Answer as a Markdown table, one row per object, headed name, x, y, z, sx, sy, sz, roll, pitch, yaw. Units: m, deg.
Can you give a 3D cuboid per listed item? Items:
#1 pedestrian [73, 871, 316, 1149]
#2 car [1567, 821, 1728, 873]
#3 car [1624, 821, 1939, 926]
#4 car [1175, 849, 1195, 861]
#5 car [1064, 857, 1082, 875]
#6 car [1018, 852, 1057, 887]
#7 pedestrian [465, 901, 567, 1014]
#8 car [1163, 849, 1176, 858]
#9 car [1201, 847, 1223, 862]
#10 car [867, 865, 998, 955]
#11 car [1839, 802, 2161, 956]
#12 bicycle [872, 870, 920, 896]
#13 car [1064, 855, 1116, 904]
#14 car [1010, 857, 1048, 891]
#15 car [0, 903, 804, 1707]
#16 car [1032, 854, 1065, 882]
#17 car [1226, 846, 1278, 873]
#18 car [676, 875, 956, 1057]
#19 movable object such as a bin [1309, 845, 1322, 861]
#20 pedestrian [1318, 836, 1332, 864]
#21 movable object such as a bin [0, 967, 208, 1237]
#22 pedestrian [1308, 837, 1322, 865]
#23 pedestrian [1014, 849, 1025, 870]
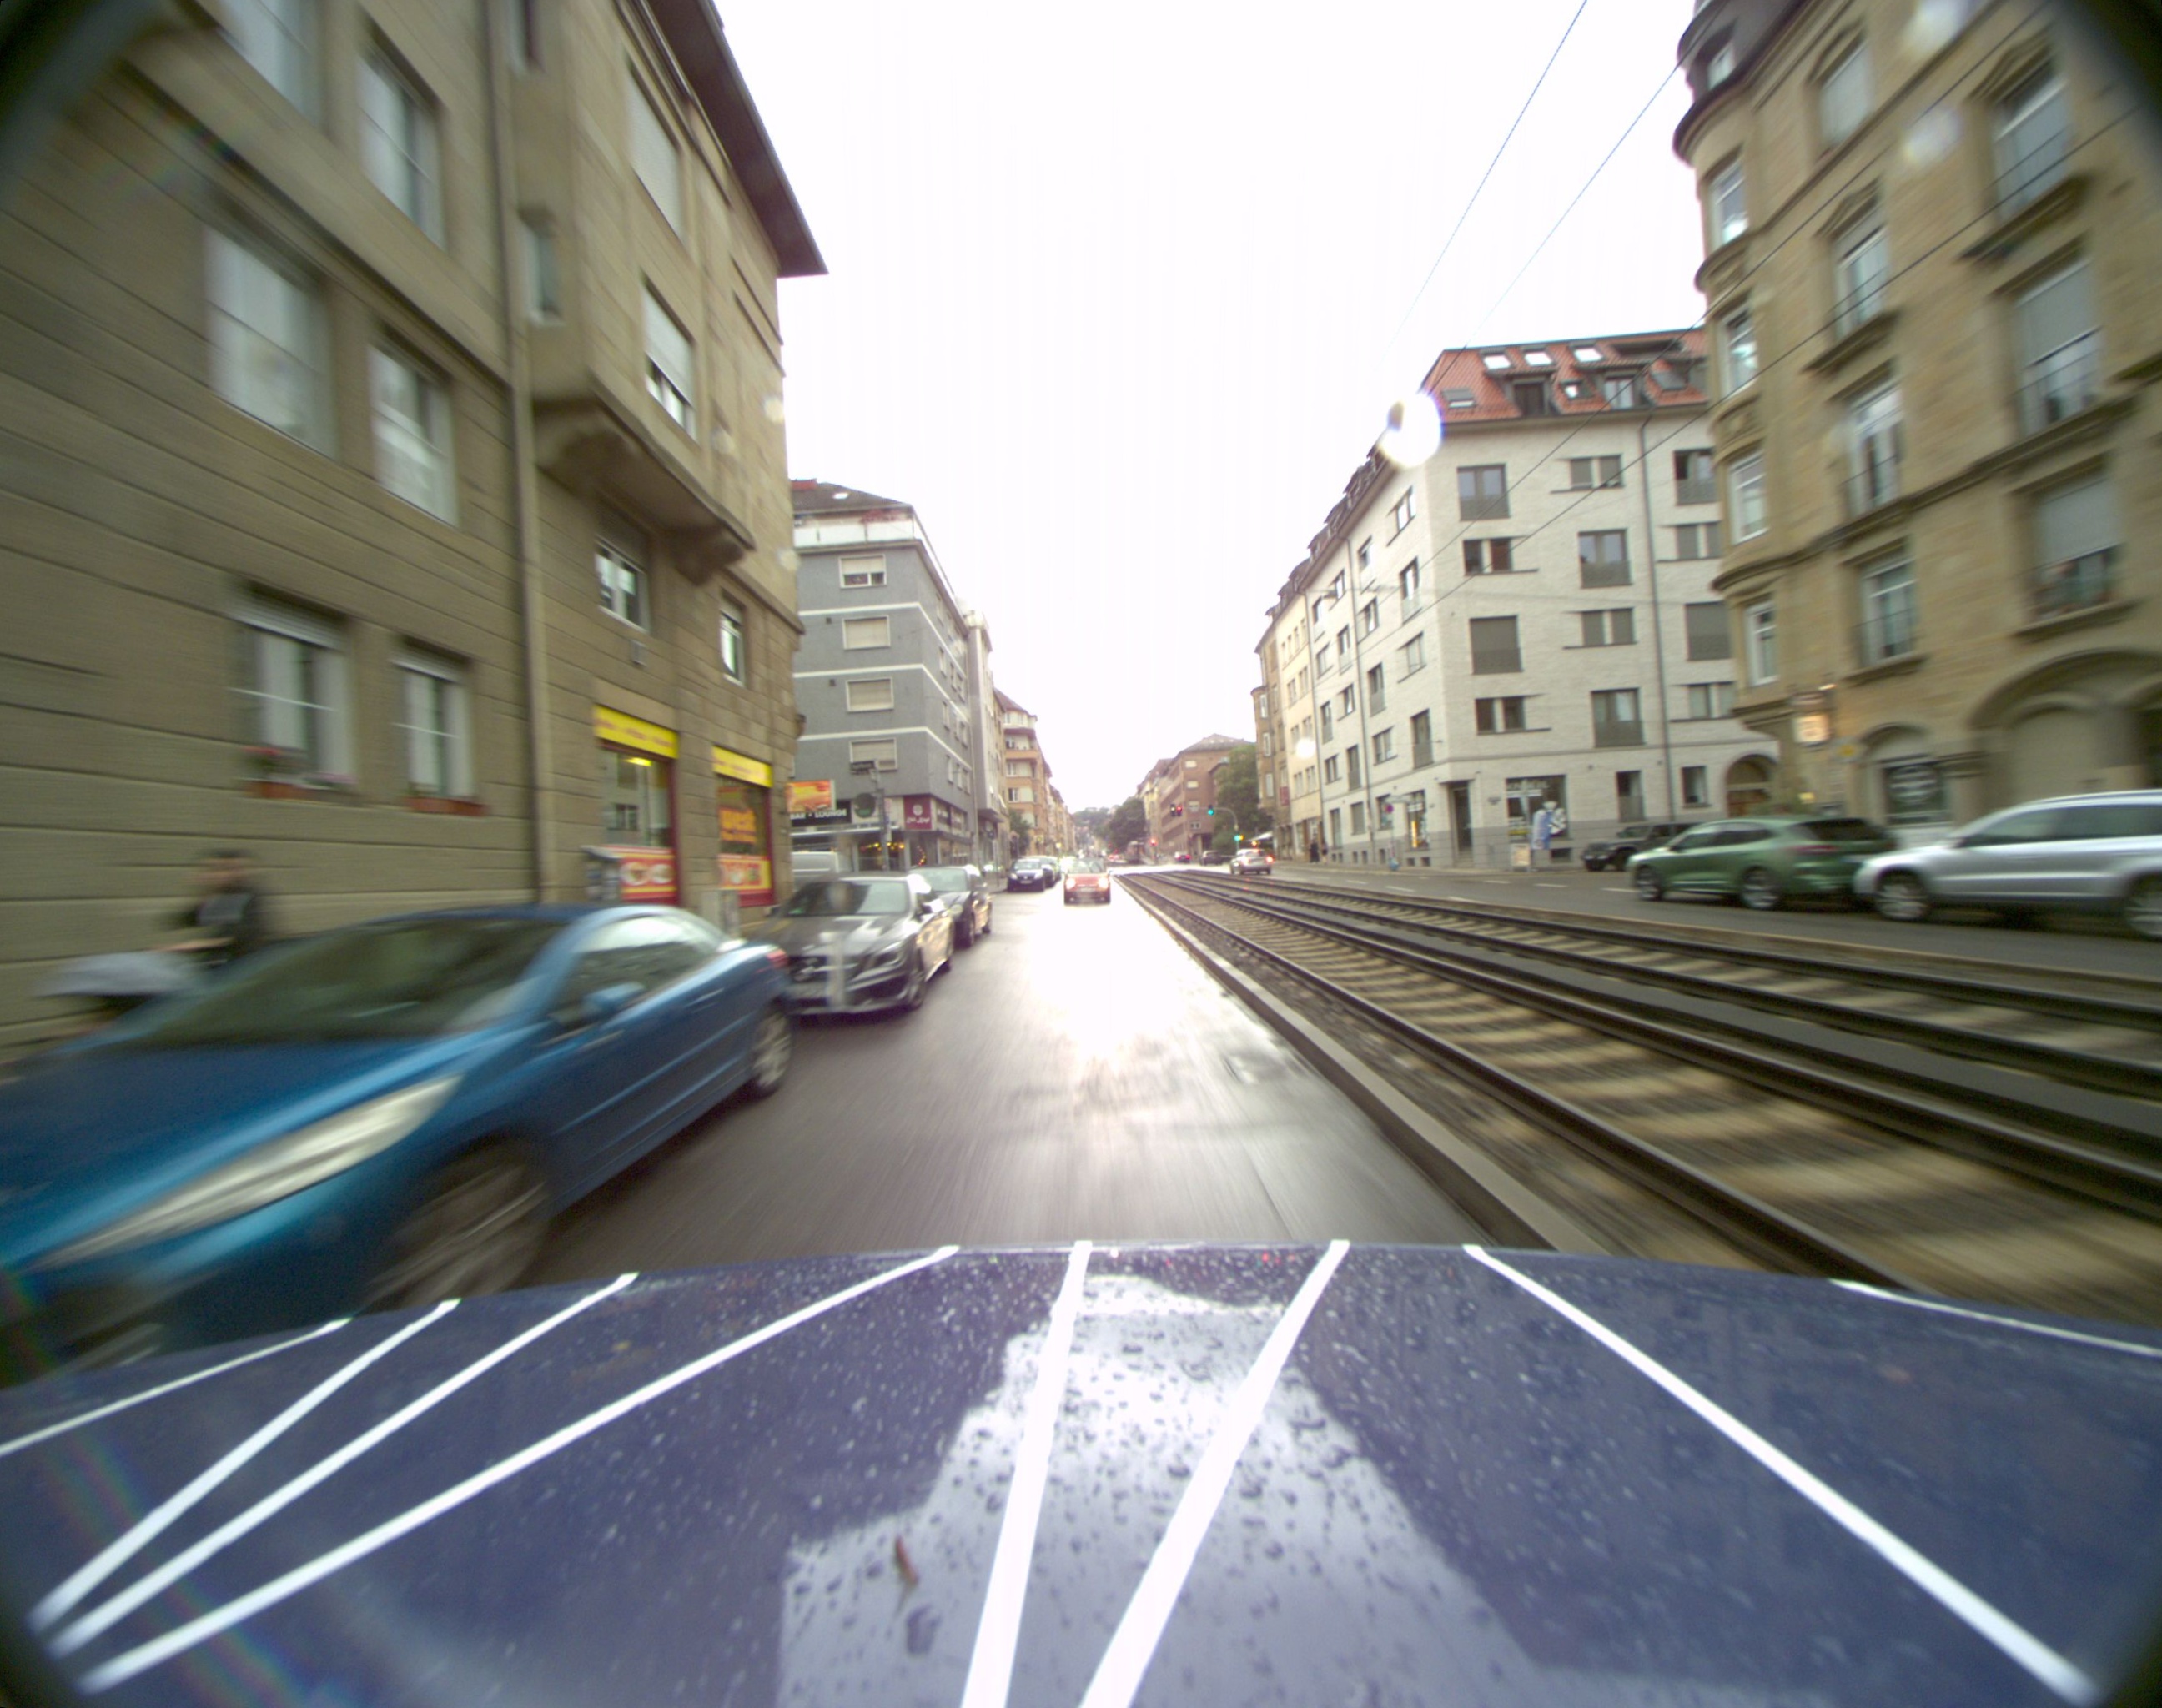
| name | x | y | z | sx | sy | sz | roll | pitch | yaw |
| --- | --- | --- | --- | --- | --- | --- | --- | --- | --- |
| pedestrian | -5.325 | 0.885 | 4.614 | 0.562 | 1.526 | 0.710 | -2 | 1 | 1 |
| car | 21.736 | -0.248 | 29.299 | 4.704 | 1.718 | 2.034 | -3 | 0 | -2 |
| car | 12.516 | 0.302 | 14.081 | 1.863 | 1.592 | 4.430 | -2 | 0 | 3 |
| car | 13.395 | 0.082 | 98.354 | 2.093 | 1.449 | 4.860 | -2 | 0 | 3 |
| car | -0.969 | 1.465 | 94.709 | 2.135 | 2.002 | 4.328 | -3 | 0 | 1 |
| car | -2.314 | 0.787 | 41.460 | 1.797 | 1.750 | 4.566 | -3 | 0 | 0 |
| pedestrian | -5.745 | 1.032 | 7.752 | 0.512 | 1.044 | 0.627 | -2 | 1 | 1 |
| car | 14.536 | -0.104 | 125.446 | 1.717 | 1.452 | 4.643 | -2 | 0 | 2 |
| car | 12.839 | 0.034 | 74.626 | 1.708 | 1.379 | 3.781 | -2 | 0 | 3 |
| car | -2.677 | 0.958 | 14.534 | 1.675 | 1.435 | 3.790 | -1 | 0 | 1 |
| car | 12.465 | 0.238 | 9.383 | 1.863 | 1.643 | 4.315 | -2 | 0 | 0 |
| bicycle | -7.576 | 1.177 | 31.131 | 1.753 | 0.967 | 0.533 | -3 | 1 | 2 |
| car | 0.311 | 0.838 | 27.003 | 1.683 | 1.531 | 4.018 | -2 | 0 | 1 |
| car | -2.482 | 0.900 | 36.303 | 1.696 | 1.474 | 3.928 | -1 | 0 | -4 |
| car | -2.846 | 1.080 | 3.404 | 1.711 | 1.390 | 4.018 | -2 | 0 | 0 |
| car | -1.976 | 0.815 | 47.230 | 1.822 | 1.645 | 4.250 | -1 | 0 | 0 |
| car | 9.850 | 0.315 | 44.135 | 1.986 | 1.448 | 4.294 | -2 | 0 | 0 |
| car | -2.582 | 0.997 | 8.620 | 1.759 | 1.379 | 4.484 | -1 | 0 | -2 |
| movable object such as a bin | 16.438 | -0.070 | 53.303 | 0.631 | 1.074 | 0.563 | -7 | 0 | 0 |
| pedestrian | 15.728 | -0.268 | 48.950 | 0.603 | 1.708 | 0.658 | -5 | 0 | 4 |
| movable object such as a bin | -5.224 | 1.195 | 3.663 | 0.667 | 1.096 | 1.124 | -3 | 0 | 1 |
| pedestrian | 15.091 | -0.207 | 49.008 | 0.603 | 1.708 | 0.746 | -5 | 0 | 4 |
| pedestrian | -5.287 | 0.500 | 65.507 | 0.852 | 1.807 | 0.847 | -1 | 1 | 1 |
